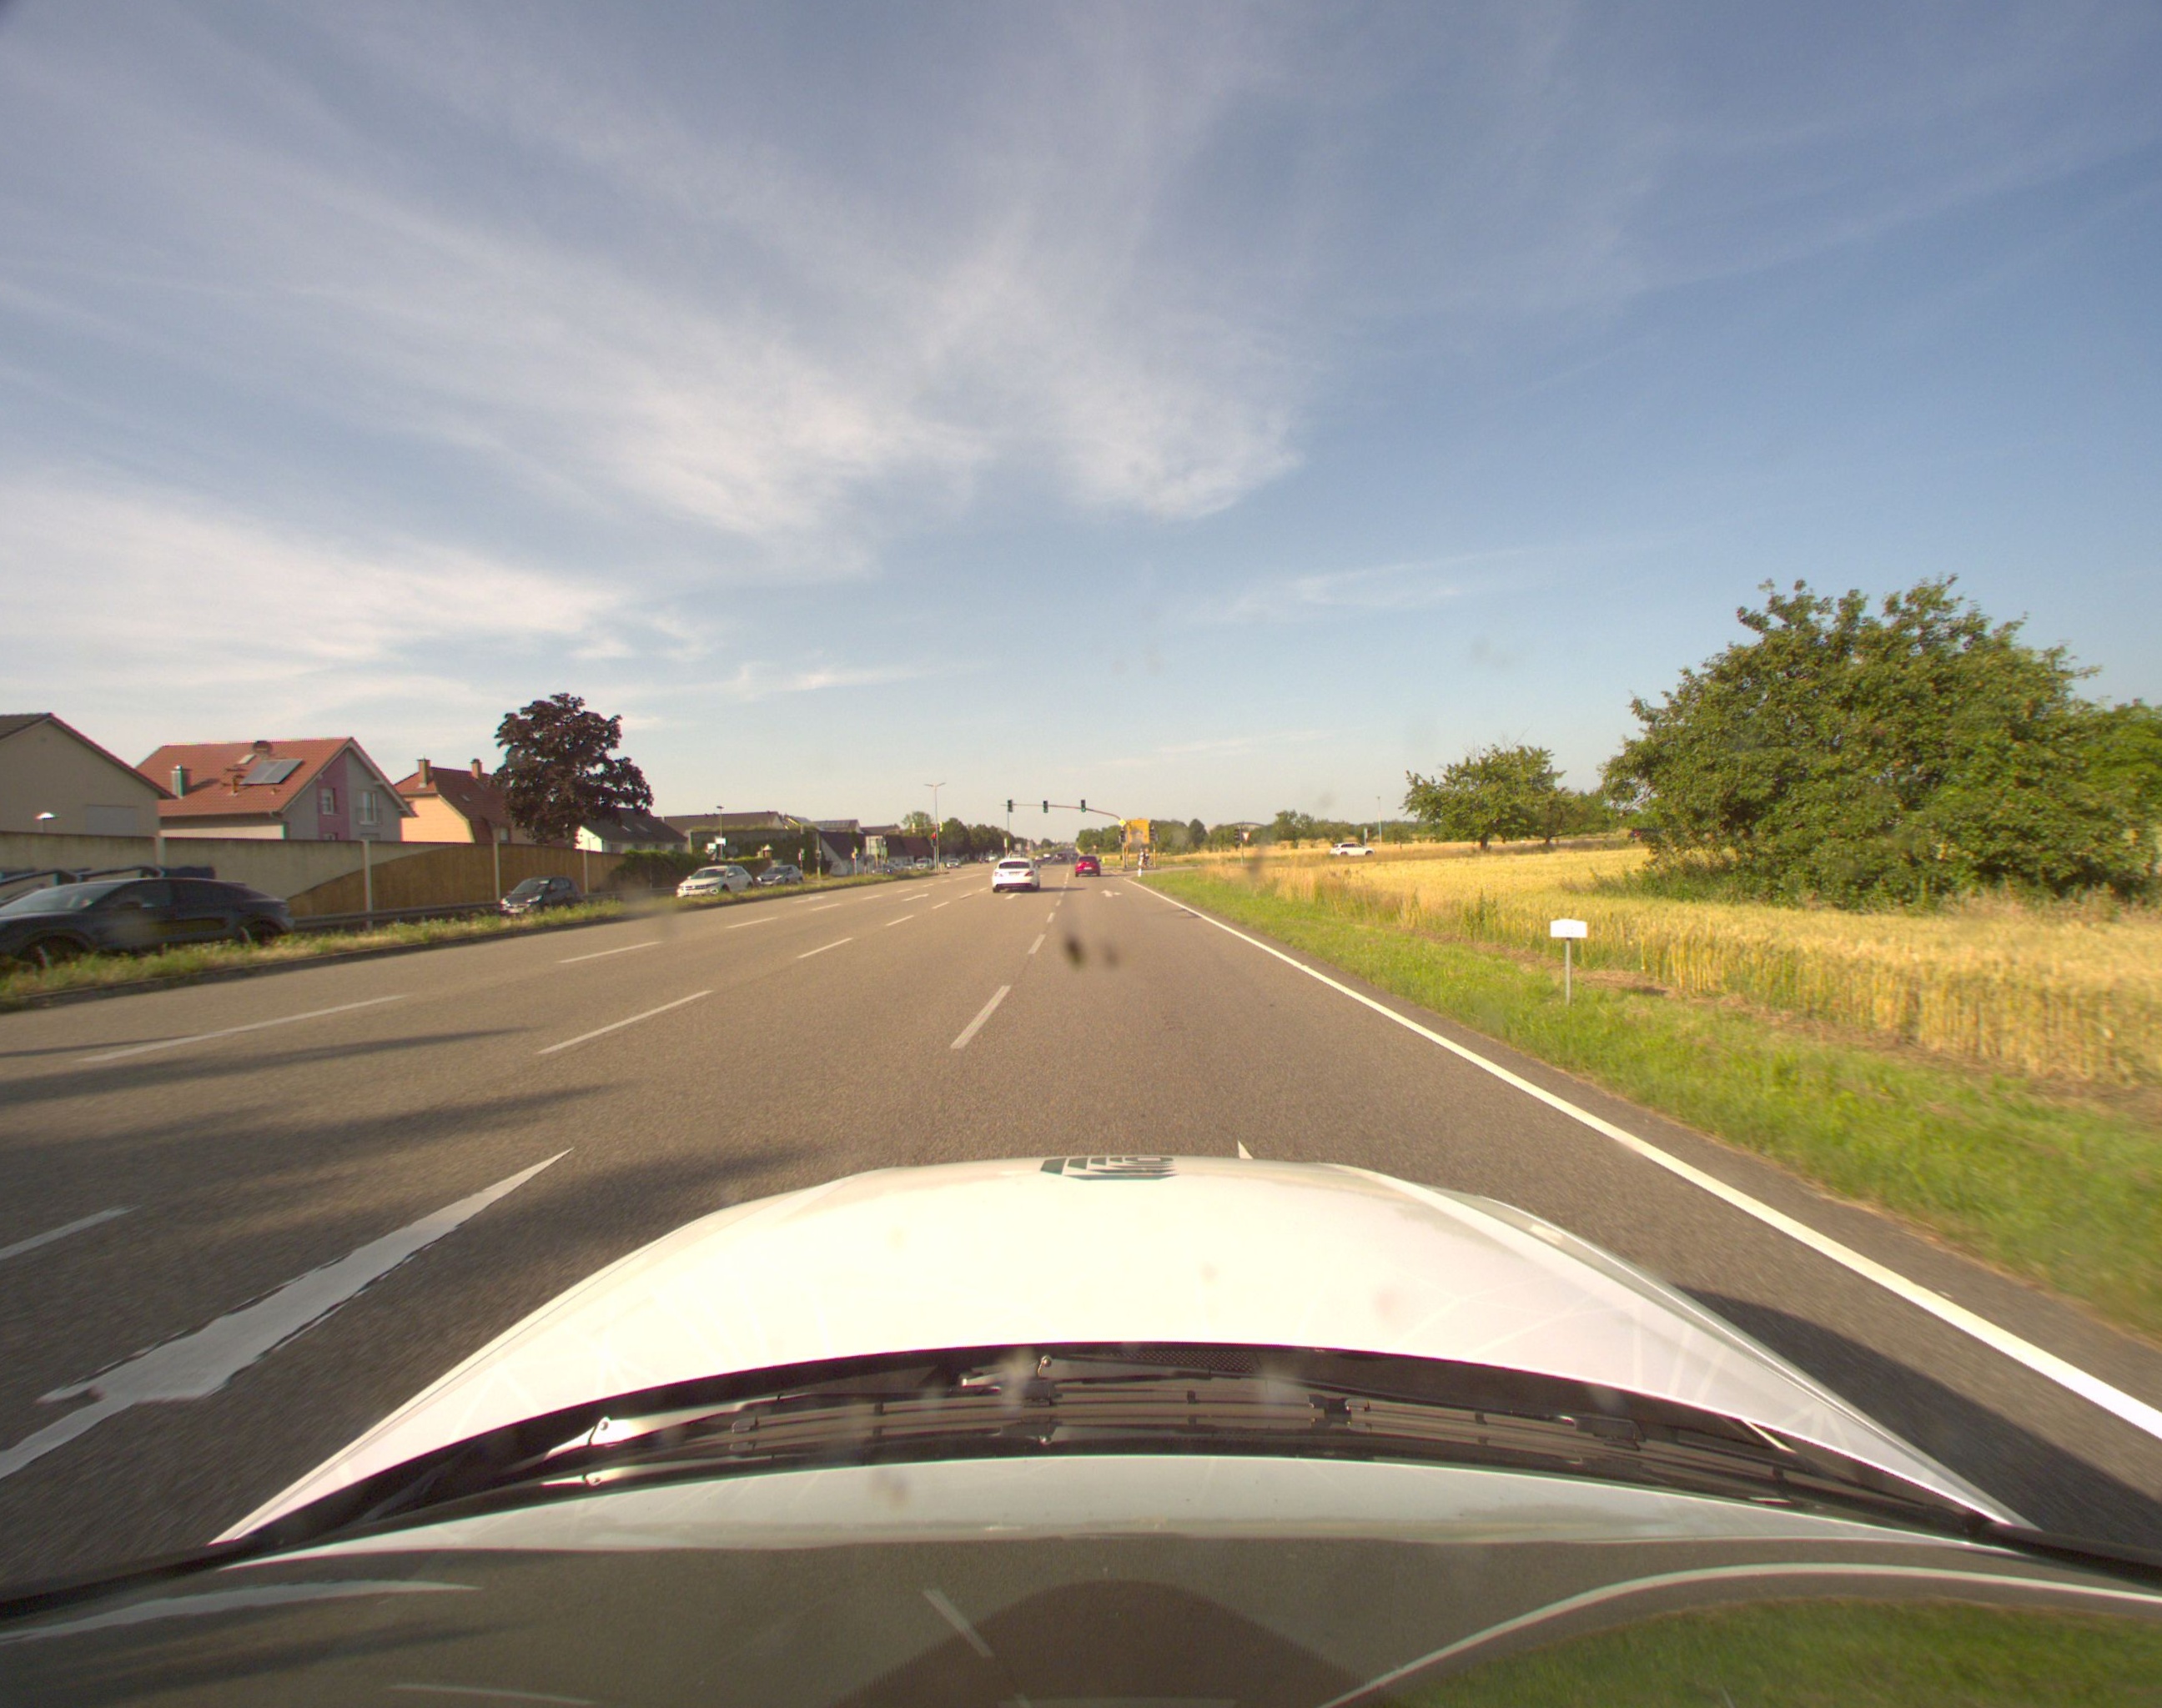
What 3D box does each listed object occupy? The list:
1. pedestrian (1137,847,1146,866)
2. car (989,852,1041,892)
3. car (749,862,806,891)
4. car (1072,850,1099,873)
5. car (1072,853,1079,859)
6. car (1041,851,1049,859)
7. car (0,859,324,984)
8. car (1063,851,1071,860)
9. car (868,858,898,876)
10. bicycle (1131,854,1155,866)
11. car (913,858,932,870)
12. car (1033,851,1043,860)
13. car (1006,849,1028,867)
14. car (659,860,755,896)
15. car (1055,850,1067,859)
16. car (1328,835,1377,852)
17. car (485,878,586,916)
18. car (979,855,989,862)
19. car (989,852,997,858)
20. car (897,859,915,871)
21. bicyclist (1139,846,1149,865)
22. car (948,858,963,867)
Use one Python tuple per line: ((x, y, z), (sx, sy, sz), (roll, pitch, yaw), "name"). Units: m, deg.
((5.380, 0.218, 72.522), (0.707, 1.751, 0.863), (-1, 0, 2), "pedestrian")
((-2.762, 0.722, 34.811), (1.889, 1.509, 3.999), (-1, 0, -1), "car")
((-19.345, 1.389, 52.083), (1.971, 1.665, 4.587), (-1, 0, -1), "car")
((0.340, 0.491, 56.945), (1.748, 1.517, 4.000), (-2, 0, 0), "car")
((-1.128, 0.337, 176.378), (1.435, 1.284, 2.914), (-1, 0, 0), "car")
((-8.335, 0.249, 189.419), (1.772, 1.665, 3.658), (-1, 0, -4), "car")
((-15.422, 0.937, 13.191), (1.726, 1.625, 4.921), (-1, 0, -1), "car")
((-2.880, 0.331, 169.695), (1.705, 1.736, 3.866), (-1, 0, -1), "car")
((-19.710, 1.297, 81.155), (1.716, 1.628, 4.658), (-1, 0, 1), "car")
((5.659, 0.551, 74.312), (2.087, 1.089, 0.808), (-1, 0, 2), "bicycle")
((-23.705, 1.471, 121.638), (1.991, 1.687, 4.573), (-1, 0, -1), "car")
((-8.287, 0.281, 155.902), (1.712, 1.492, 3.584), (-1, 0, 0), "car")
((-6.946, 0.413, 88.910), (2.018, 1.891, 4.959), (-1, 1, 0), "car")
((-15.425, 0.946, 33.907), (1.868, 1.321, 4.712), (-1, 0, -1), "car")
((-3.624, 0.077, 147.781), (1.832, 1.684, 4.002), (-1, 0, 2), "car")
((25.476, -0.978, 76.533), (3.978, 1.598, 1.859), (-1, 0, -3), "car")
((-19.308, 1.487, 28.970), (1.469, 1.164, 3.062), (-1, 0, 0), "car")
((-21.249, 1.017, 178.767), (1.989, 1.497, 3.995), (-1, 0, -4), "car")
((-21.983, 0.284, 203.546), (1.729, 1.574, 3.702), (-1, 0, -1), "car")
((-24.529, 1.523, 113.928), (1.885, 1.618, 3.851), (-1, 0, -4), "car")
((5.742, 0.142, 74.293), (0.845, 1.755, 0.799), (-1, 0, 1), "bicyclist")
((-19.522, 1.315, 126.831), (1.780, 1.437, 4.351), (-1, 0, -4), "car")
